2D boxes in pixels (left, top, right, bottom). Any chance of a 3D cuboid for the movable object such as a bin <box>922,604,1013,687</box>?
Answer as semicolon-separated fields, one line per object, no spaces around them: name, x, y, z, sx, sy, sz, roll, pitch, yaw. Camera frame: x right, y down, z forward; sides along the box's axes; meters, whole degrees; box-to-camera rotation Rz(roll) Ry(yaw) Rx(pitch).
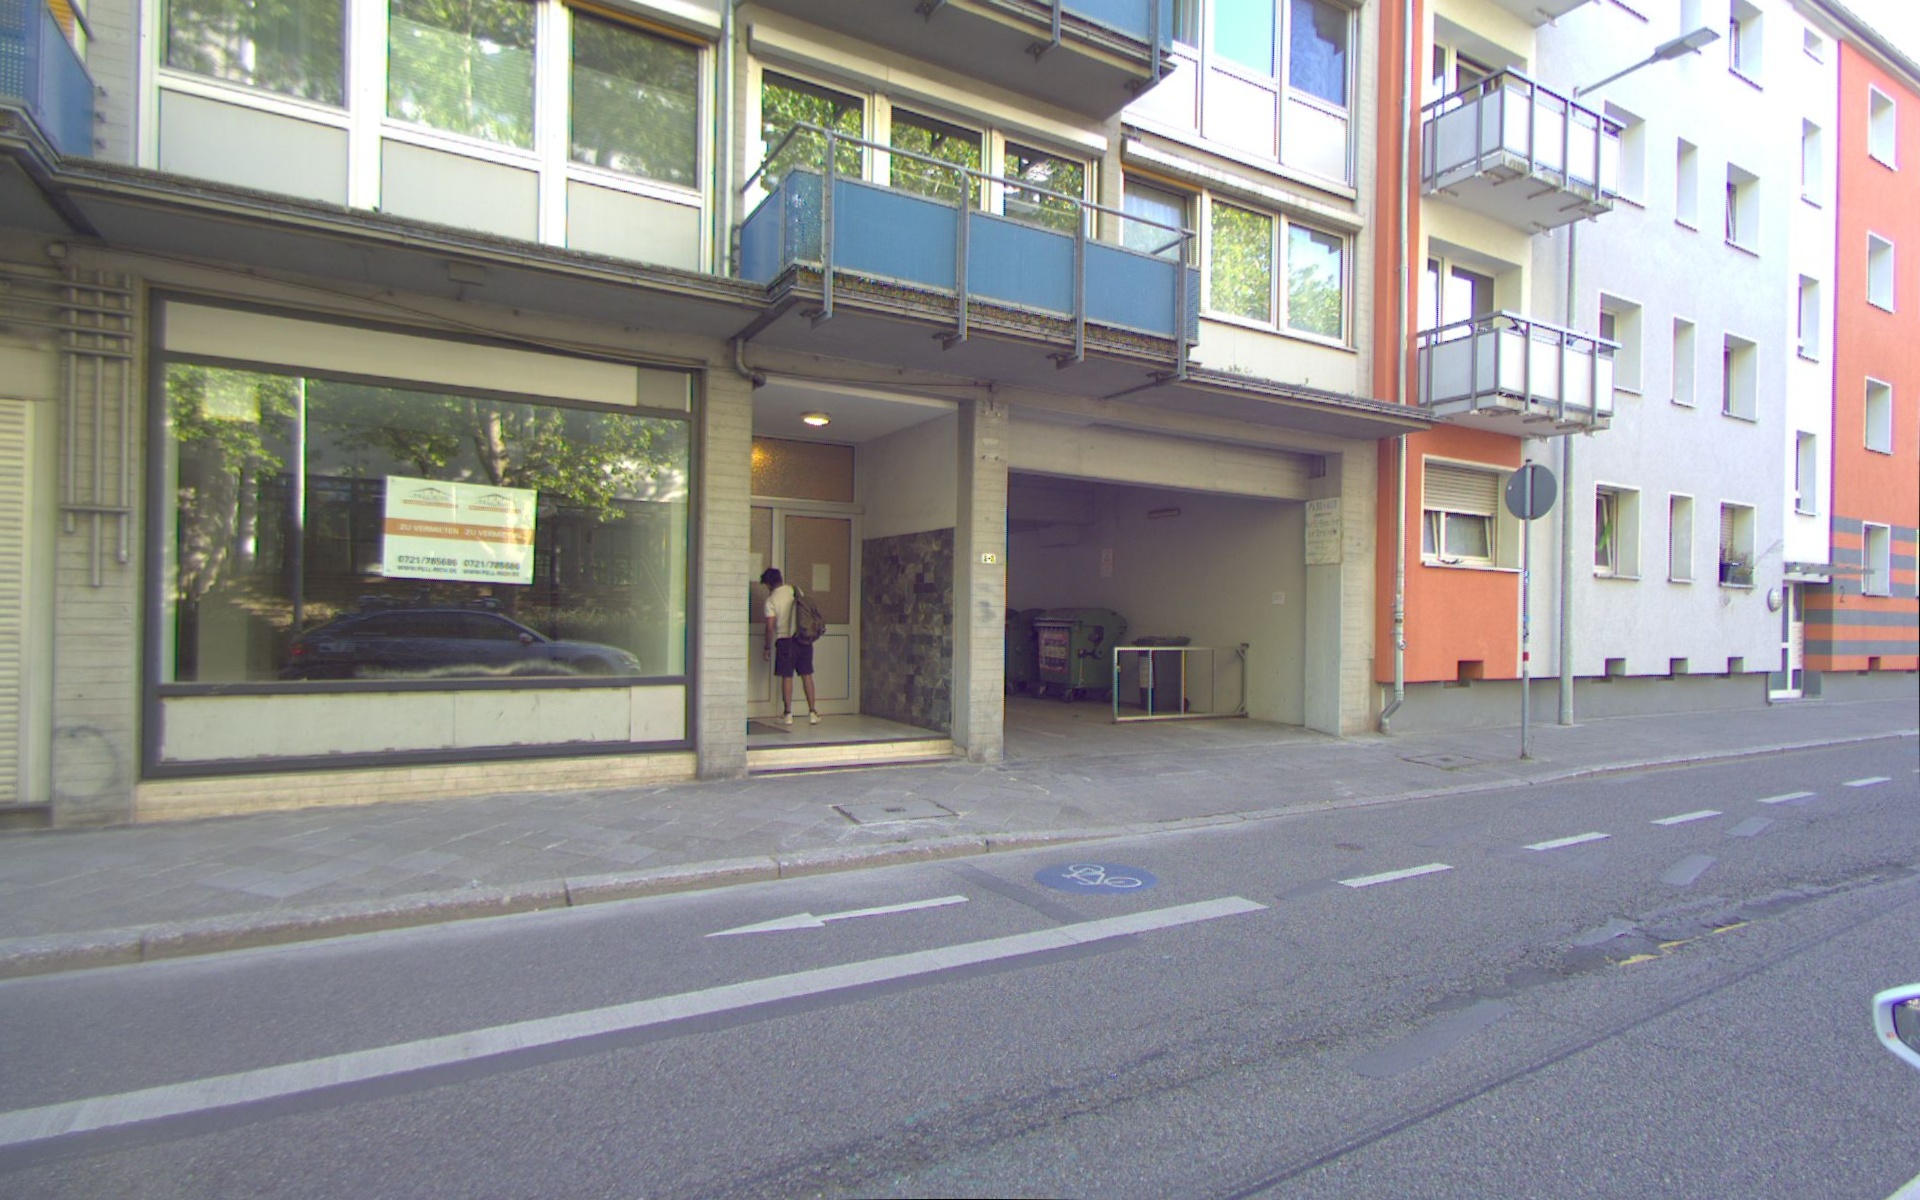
movable object such as a bin;0.123;0.828;18.767;1.182;1.452;1.300;2;0;-30

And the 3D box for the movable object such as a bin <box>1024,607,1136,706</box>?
movable object such as a bin;1.877;0.866;15.806;1.182;1.452;1.300;2;0;-30

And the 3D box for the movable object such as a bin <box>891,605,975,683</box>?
movable object such as a bin;-0.545;0.859;19.931;1.182;1.452;1.300;2;0;-30

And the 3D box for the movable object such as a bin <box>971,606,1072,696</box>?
movable object such as a bin;1.036;0.848;17.193;1.182;1.452;1.300;2;0;-30

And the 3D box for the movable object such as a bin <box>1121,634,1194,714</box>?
movable object such as a bin;2.854;1.060;14.523;0.707;1.089;0.735;2;0;-30

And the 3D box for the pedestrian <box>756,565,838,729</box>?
pedestrian;-1.692;0.471;10.383;0.558;1.606;0.919;1;0;-28
